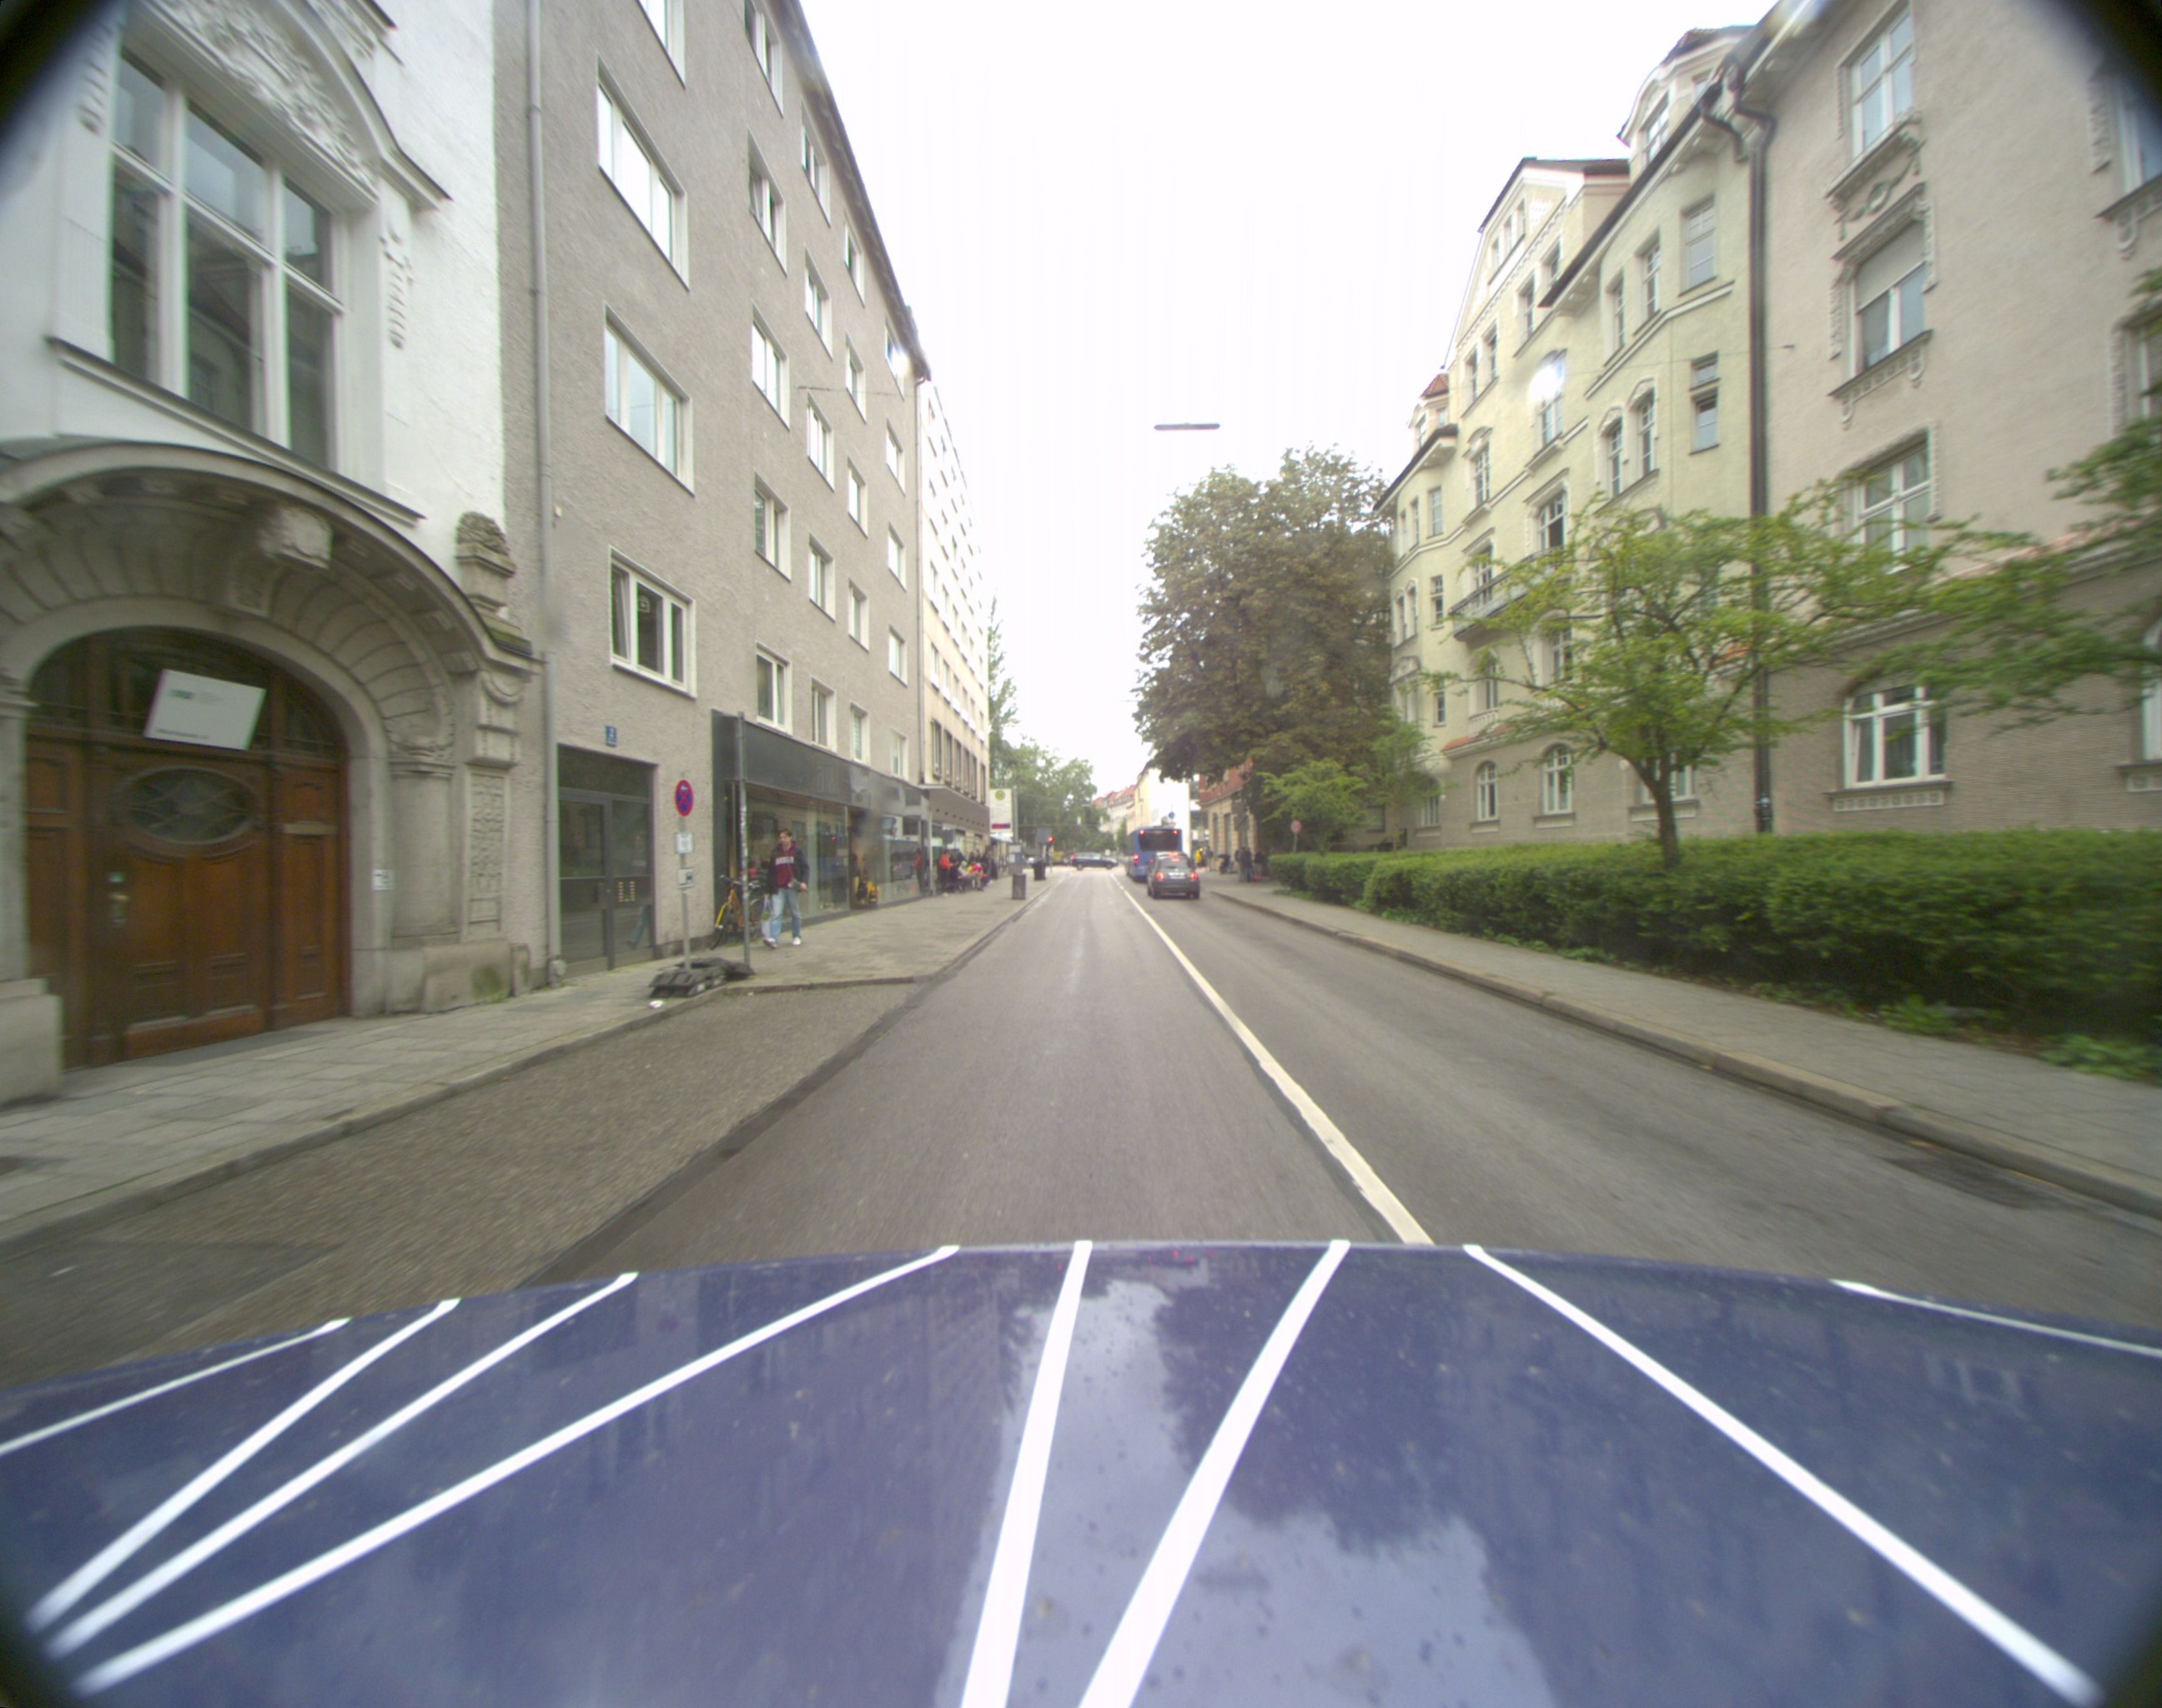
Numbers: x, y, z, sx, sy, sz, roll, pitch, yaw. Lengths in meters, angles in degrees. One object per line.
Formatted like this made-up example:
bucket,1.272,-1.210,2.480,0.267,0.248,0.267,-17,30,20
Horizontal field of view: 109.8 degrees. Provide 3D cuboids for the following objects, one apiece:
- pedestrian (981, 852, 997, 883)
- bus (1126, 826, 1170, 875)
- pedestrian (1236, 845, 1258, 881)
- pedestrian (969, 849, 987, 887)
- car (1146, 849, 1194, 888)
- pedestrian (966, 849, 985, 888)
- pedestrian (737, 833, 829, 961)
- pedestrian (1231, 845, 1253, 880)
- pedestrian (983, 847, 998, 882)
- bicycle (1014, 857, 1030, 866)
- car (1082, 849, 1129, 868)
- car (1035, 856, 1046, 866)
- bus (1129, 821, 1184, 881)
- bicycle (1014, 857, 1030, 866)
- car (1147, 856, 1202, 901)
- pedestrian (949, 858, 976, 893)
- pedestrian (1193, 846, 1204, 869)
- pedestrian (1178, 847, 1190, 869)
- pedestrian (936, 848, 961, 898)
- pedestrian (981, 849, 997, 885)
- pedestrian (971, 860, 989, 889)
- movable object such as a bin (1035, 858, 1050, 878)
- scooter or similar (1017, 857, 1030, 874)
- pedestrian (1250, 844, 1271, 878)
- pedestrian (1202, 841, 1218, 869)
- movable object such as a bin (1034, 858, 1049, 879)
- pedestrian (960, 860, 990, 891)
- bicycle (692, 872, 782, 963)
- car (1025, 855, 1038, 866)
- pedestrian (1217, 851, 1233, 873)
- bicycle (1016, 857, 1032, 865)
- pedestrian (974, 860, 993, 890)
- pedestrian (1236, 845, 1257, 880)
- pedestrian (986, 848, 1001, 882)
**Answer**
pedestrian,-4.663,0.683,38.472,0.659,1.584,0.696,-1,1,2
bus,4.517,-0.255,52.786,2.585,3.083,9.108,-1,0,2
pedestrian,8.049,0.435,36.891,0.910,1.735,0.847,-1,1,1
pedestrian,-4.713,0.632,34.695,0.659,1.723,0.778,-1,1,2
car,3.983,0.617,34.550,1.772,1.635,4.274,-1,0,1
pedestrian,-4.618,0.627,33.297,0.659,1.723,0.684,-1,1,2
pedestrian,-4.661,0.637,11.962,0.929,1.899,1.179,1,1,1
pedestrian,8.181,0.409,38.638,0.875,1.735,0.910,-1,1,1
pedestrian,-4.712,0.563,39.688,0.659,1.812,0.696,-1,1,2
bicycle,-7.982,1.042,102.775,2.124,1.110,0.738,-1,1,-9
car,2.352,0.407,73.593,4.460,1.738,1.871,-1,1,0
car,-7.050,1.224,132.884,1.718,1.543,4.000,-1,0,0
bus,4.208,-0.153,43.856,2.585,3.083,8.923,-1,0,2
bicycle,-7.871,1.036,101.850,2.124,1.110,0.738,-1,1,-9
car,3.294,0.821,27.371,1.588,1.471,3.782,-1,0,1
pedestrian,-4.585,0.833,29.485,0.862,1.344,0.862,-1,1,2
pedestrian,10.700,0.297,69.060,0.952,2.002,1.397,-1,1,11
pedestrian,9.343,0.347,68.961,0.952,2.002,1.397,-1,1,11
pedestrian,-4.662,0.652,26.805,0.704,1.723,0.746,-1,1,2
pedestrian,-4.419,0.625,36.599,0.659,1.723,0.696,-1,1,2
pedestrian,-4.365,0.870,32.723,0.681,1.230,0.496,-1,1,2
movable object such as a bin,-2.385,0.861,46.662,0.877,1.243,0.798,-1,1,-4
scooter or similar,-4.248,0.826,56.486,0.563,1.234,1.445,-1,1,12
pedestrian,9.169,0.345,38.746,0.784,1.735,0.877,0,1,33
pedestrian,9.354,0.100,55.043,0.832,2.002,0.778,-2,1,-41
movable object such as a bin,-2.398,0.856,45.818,0.877,1.243,0.798,-1,1,-4
pedestrian,-4.342,0.868,31.177,1.099,1.230,0.668,-1,1,2
bicycle,-5.419,0.955,12.076,0.513,1.253,1.820,3,0,1
car,-7.532,1.016,115.674,1.718,1.543,4.000,-1,0,0
pedestrian,8.956,0.492,47.304,0.830,1.333,0.754,-1,1,-1
bicycle,-7.978,1.014,105.817,2.124,1.110,0.629,-1,1,-9
pedestrian,-4.123,0.882,32.213,0.709,1.230,0.585,-1,1,2
pedestrian,8.235,0.409,37.747,0.875,1.735,0.786,-1,1,1
pedestrian,-4.655,0.581,40.456,0.659,1.773,0.771,-1,1,2
